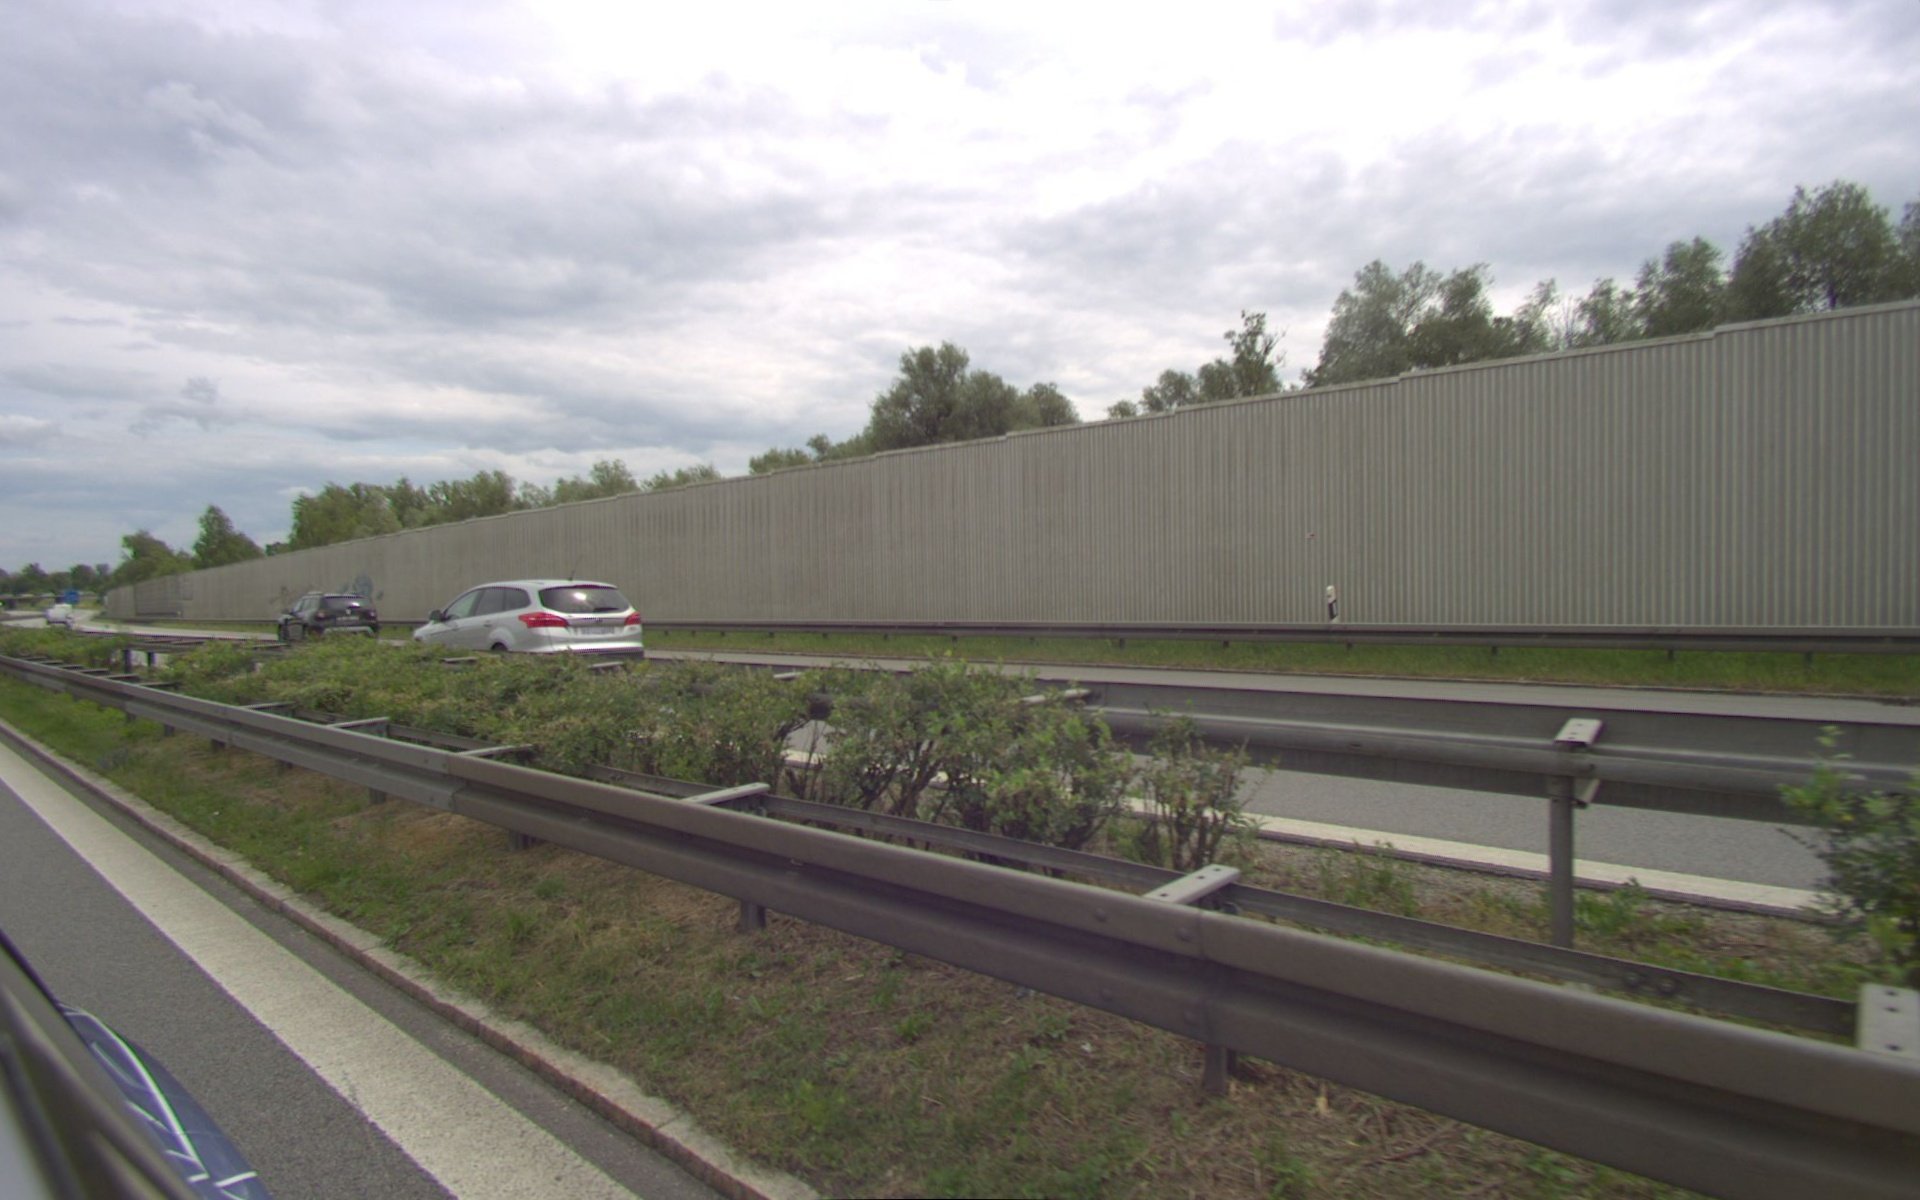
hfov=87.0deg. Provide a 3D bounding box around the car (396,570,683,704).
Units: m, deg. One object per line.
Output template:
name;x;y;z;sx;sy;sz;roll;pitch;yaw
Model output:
car;-5.952;0.452;14.049;4.565;1.560;1.911;-1;0;42

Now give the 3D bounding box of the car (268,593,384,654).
car;-18.734;0.684;29.811;4.704;1.654;1.697;-1;0;43

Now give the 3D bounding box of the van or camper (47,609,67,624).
van or camper;-172.455;3.182;193.317;2.435;2.891;7.782;-1;-1;-39

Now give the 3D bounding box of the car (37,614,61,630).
car;-103.309;2.523;114.765;4.628;1.758;1.722;-1;-1;44
